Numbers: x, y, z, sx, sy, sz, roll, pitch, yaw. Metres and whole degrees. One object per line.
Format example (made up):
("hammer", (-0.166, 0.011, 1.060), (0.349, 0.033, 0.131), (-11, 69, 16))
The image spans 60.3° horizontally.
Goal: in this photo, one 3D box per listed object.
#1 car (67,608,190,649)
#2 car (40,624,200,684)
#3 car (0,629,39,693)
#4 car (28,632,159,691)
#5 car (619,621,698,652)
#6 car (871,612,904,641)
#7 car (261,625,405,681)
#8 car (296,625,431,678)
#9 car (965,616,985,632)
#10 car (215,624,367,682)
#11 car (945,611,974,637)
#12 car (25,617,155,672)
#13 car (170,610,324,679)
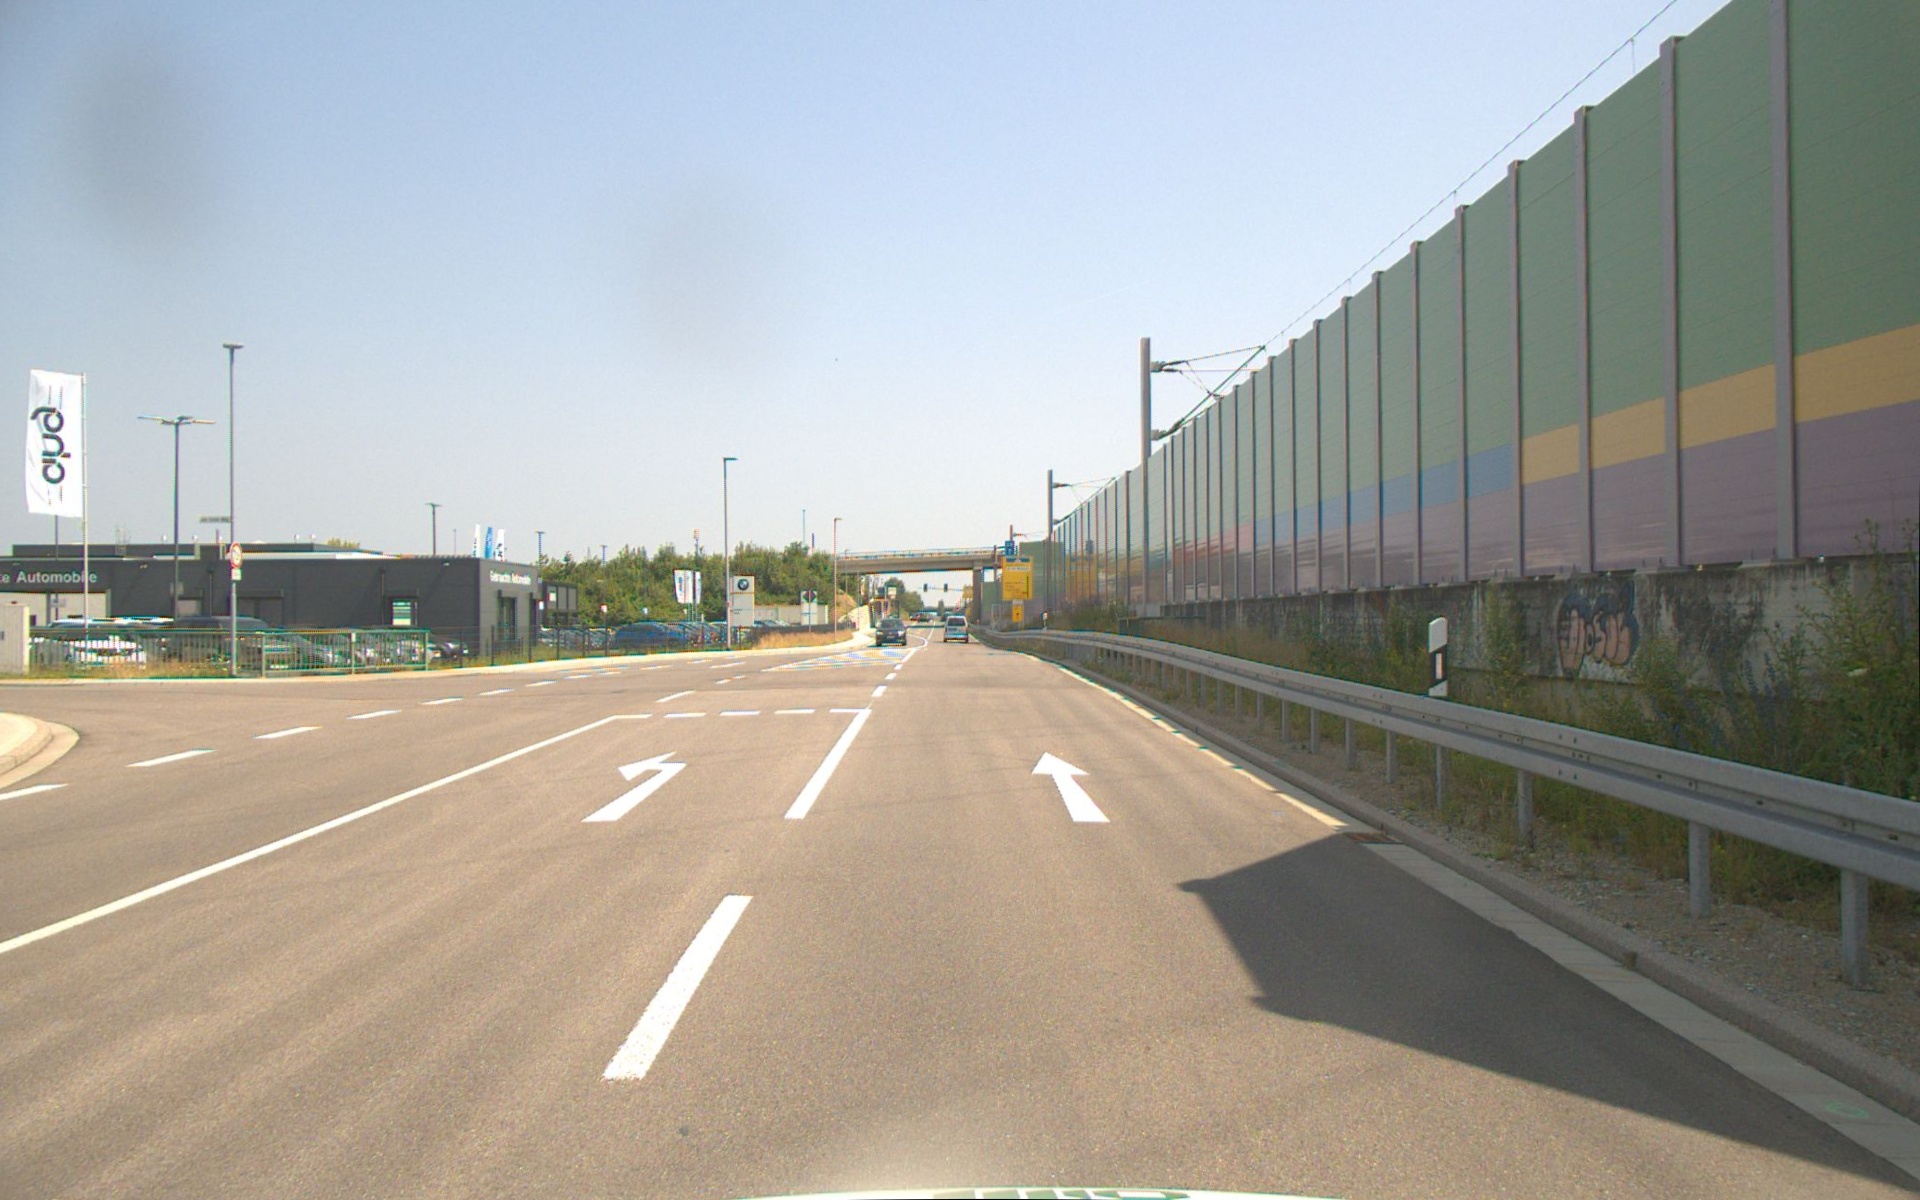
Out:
("car", (-31.397, 1.074, 62.506), (3.760, 1.446, 1.685), (-1, 0, -3))
("car", (-25.967, 1.656, 51.237), (3.907, 1.694, 1.976), (-1, 0, -3))
("car", (-27.959, 1.707, 45.647), (3.907, 1.694, 1.976), (-1, 0, -3))
("car", (-24.617, 1.731, 46.924), (4.429, 1.589, 1.915), (-2, -2, 43))
("car", (-16.165, 1.942, 88.834), (3.907, 1.506, 1.910), (-1, 0, -3))
("car", (-4.410, 1.585, 101.329), (1.839, 1.702, 4.290), (-1, 0, 0))
("car", (-20.383, 1.711, 53.876), (3.907, 1.660, 1.976), (-1, 0, -3))
("car", (-20.409, 1.756, 56.702), (3.907, 1.660, 1.976), (-1, 0, -3))
("car", (1.434, 2.305, 156.943), (1.744, 1.440, 4.050), (-1, -1, 1))
("car", (-20.601, 1.620, 51.059), (3.907, 1.660, 1.886), (-1, 0, -3))
("car", (-0.027, 1.634, 114.657), (1.952, 1.788, 4.000), (-1, 0, 1))
("car", (-31.253, 1.594, 59.481), (3.760, 1.860, 1.685), (-1, 0, -3))
("car", (-20.566, 1.295, 47.631), (4.587, 1.898, 2.057), (-1, -2, 37))
